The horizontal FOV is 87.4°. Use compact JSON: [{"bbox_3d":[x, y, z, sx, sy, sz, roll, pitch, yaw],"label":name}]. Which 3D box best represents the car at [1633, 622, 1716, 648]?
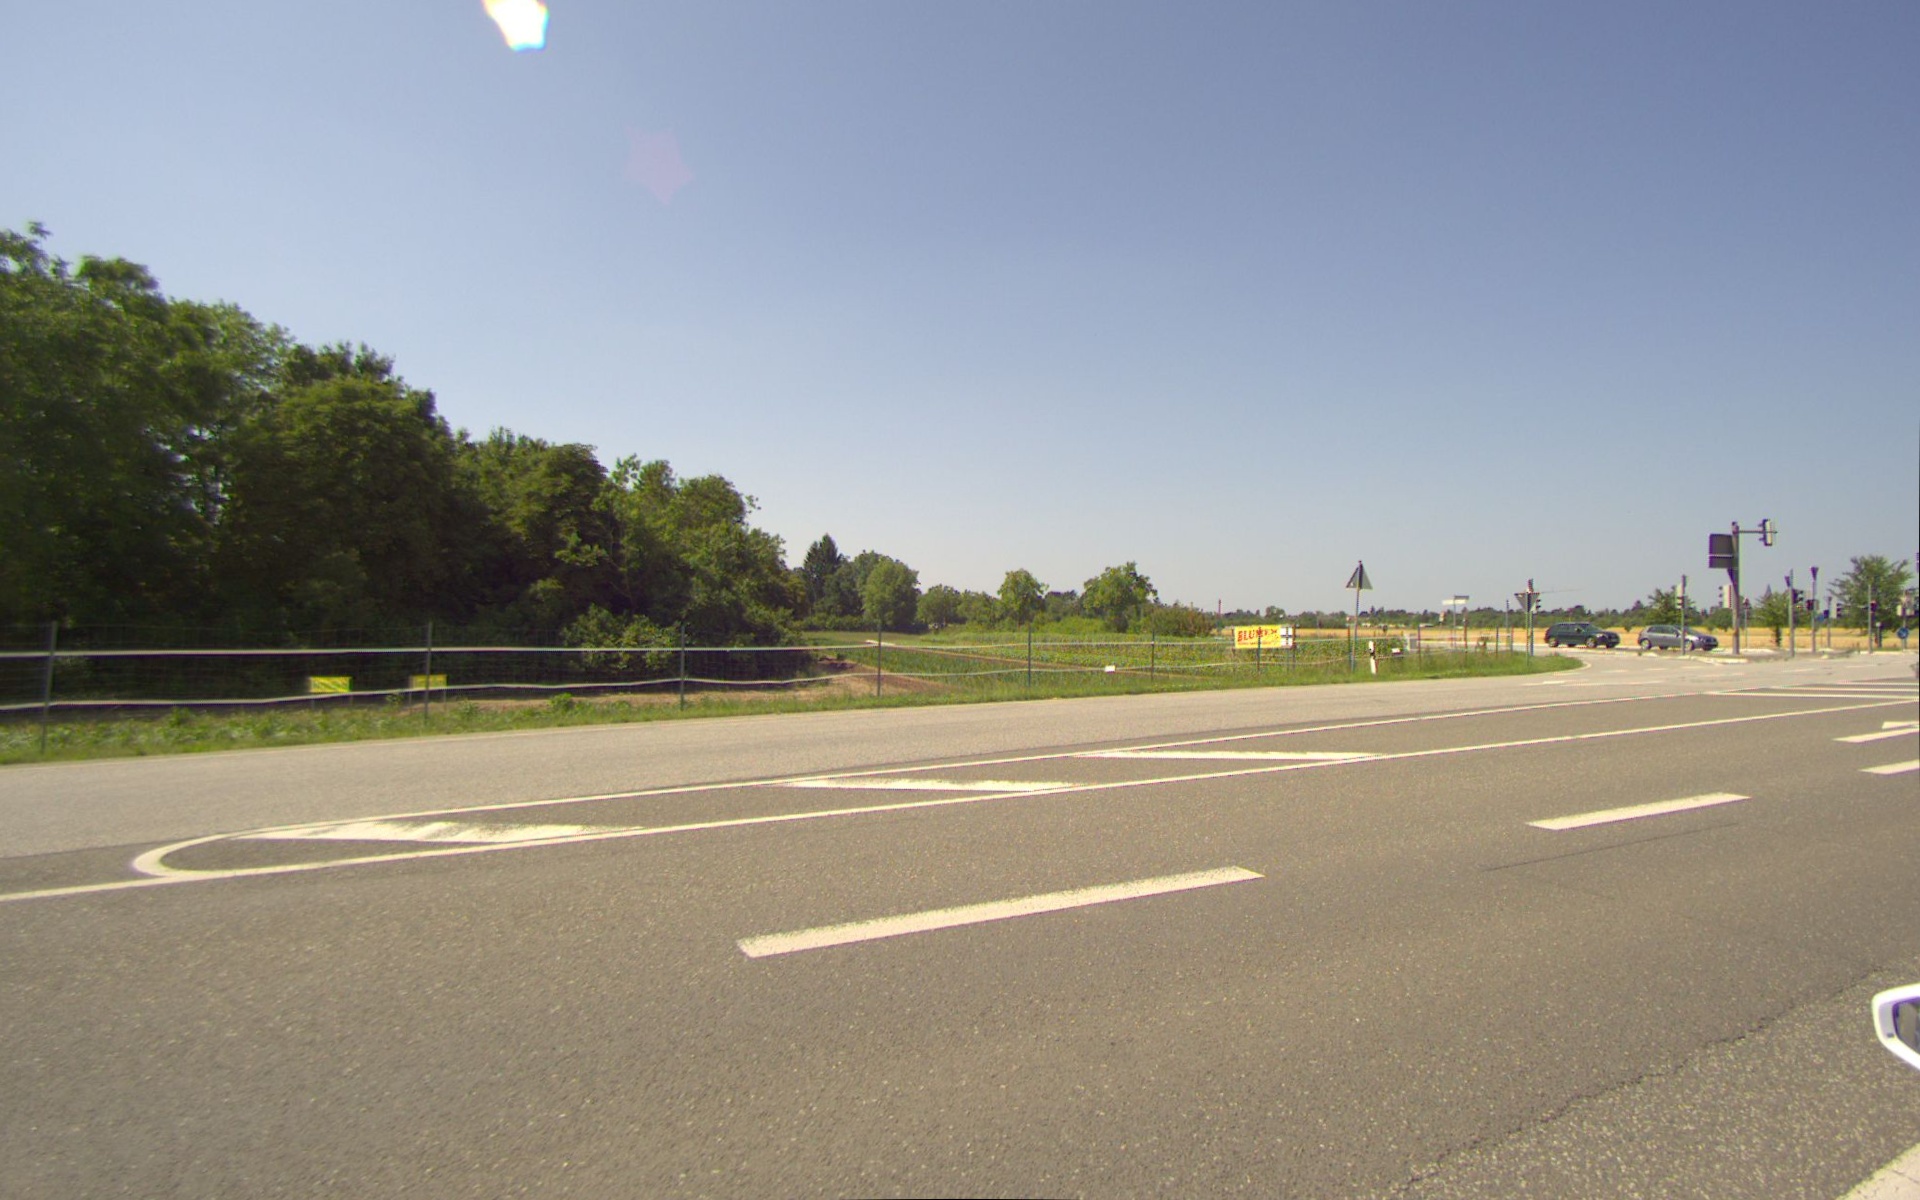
[{"bbox_3d":[42.319,2.048,59.594,1.609,1.405,3.866,0,-1,-17],"label":"car"}]

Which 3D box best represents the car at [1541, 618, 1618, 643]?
[{"bbox_3d":[40.463,1.992,65.699,1.608,1.615,4.357,0,-2,-15],"label":"car"}]
